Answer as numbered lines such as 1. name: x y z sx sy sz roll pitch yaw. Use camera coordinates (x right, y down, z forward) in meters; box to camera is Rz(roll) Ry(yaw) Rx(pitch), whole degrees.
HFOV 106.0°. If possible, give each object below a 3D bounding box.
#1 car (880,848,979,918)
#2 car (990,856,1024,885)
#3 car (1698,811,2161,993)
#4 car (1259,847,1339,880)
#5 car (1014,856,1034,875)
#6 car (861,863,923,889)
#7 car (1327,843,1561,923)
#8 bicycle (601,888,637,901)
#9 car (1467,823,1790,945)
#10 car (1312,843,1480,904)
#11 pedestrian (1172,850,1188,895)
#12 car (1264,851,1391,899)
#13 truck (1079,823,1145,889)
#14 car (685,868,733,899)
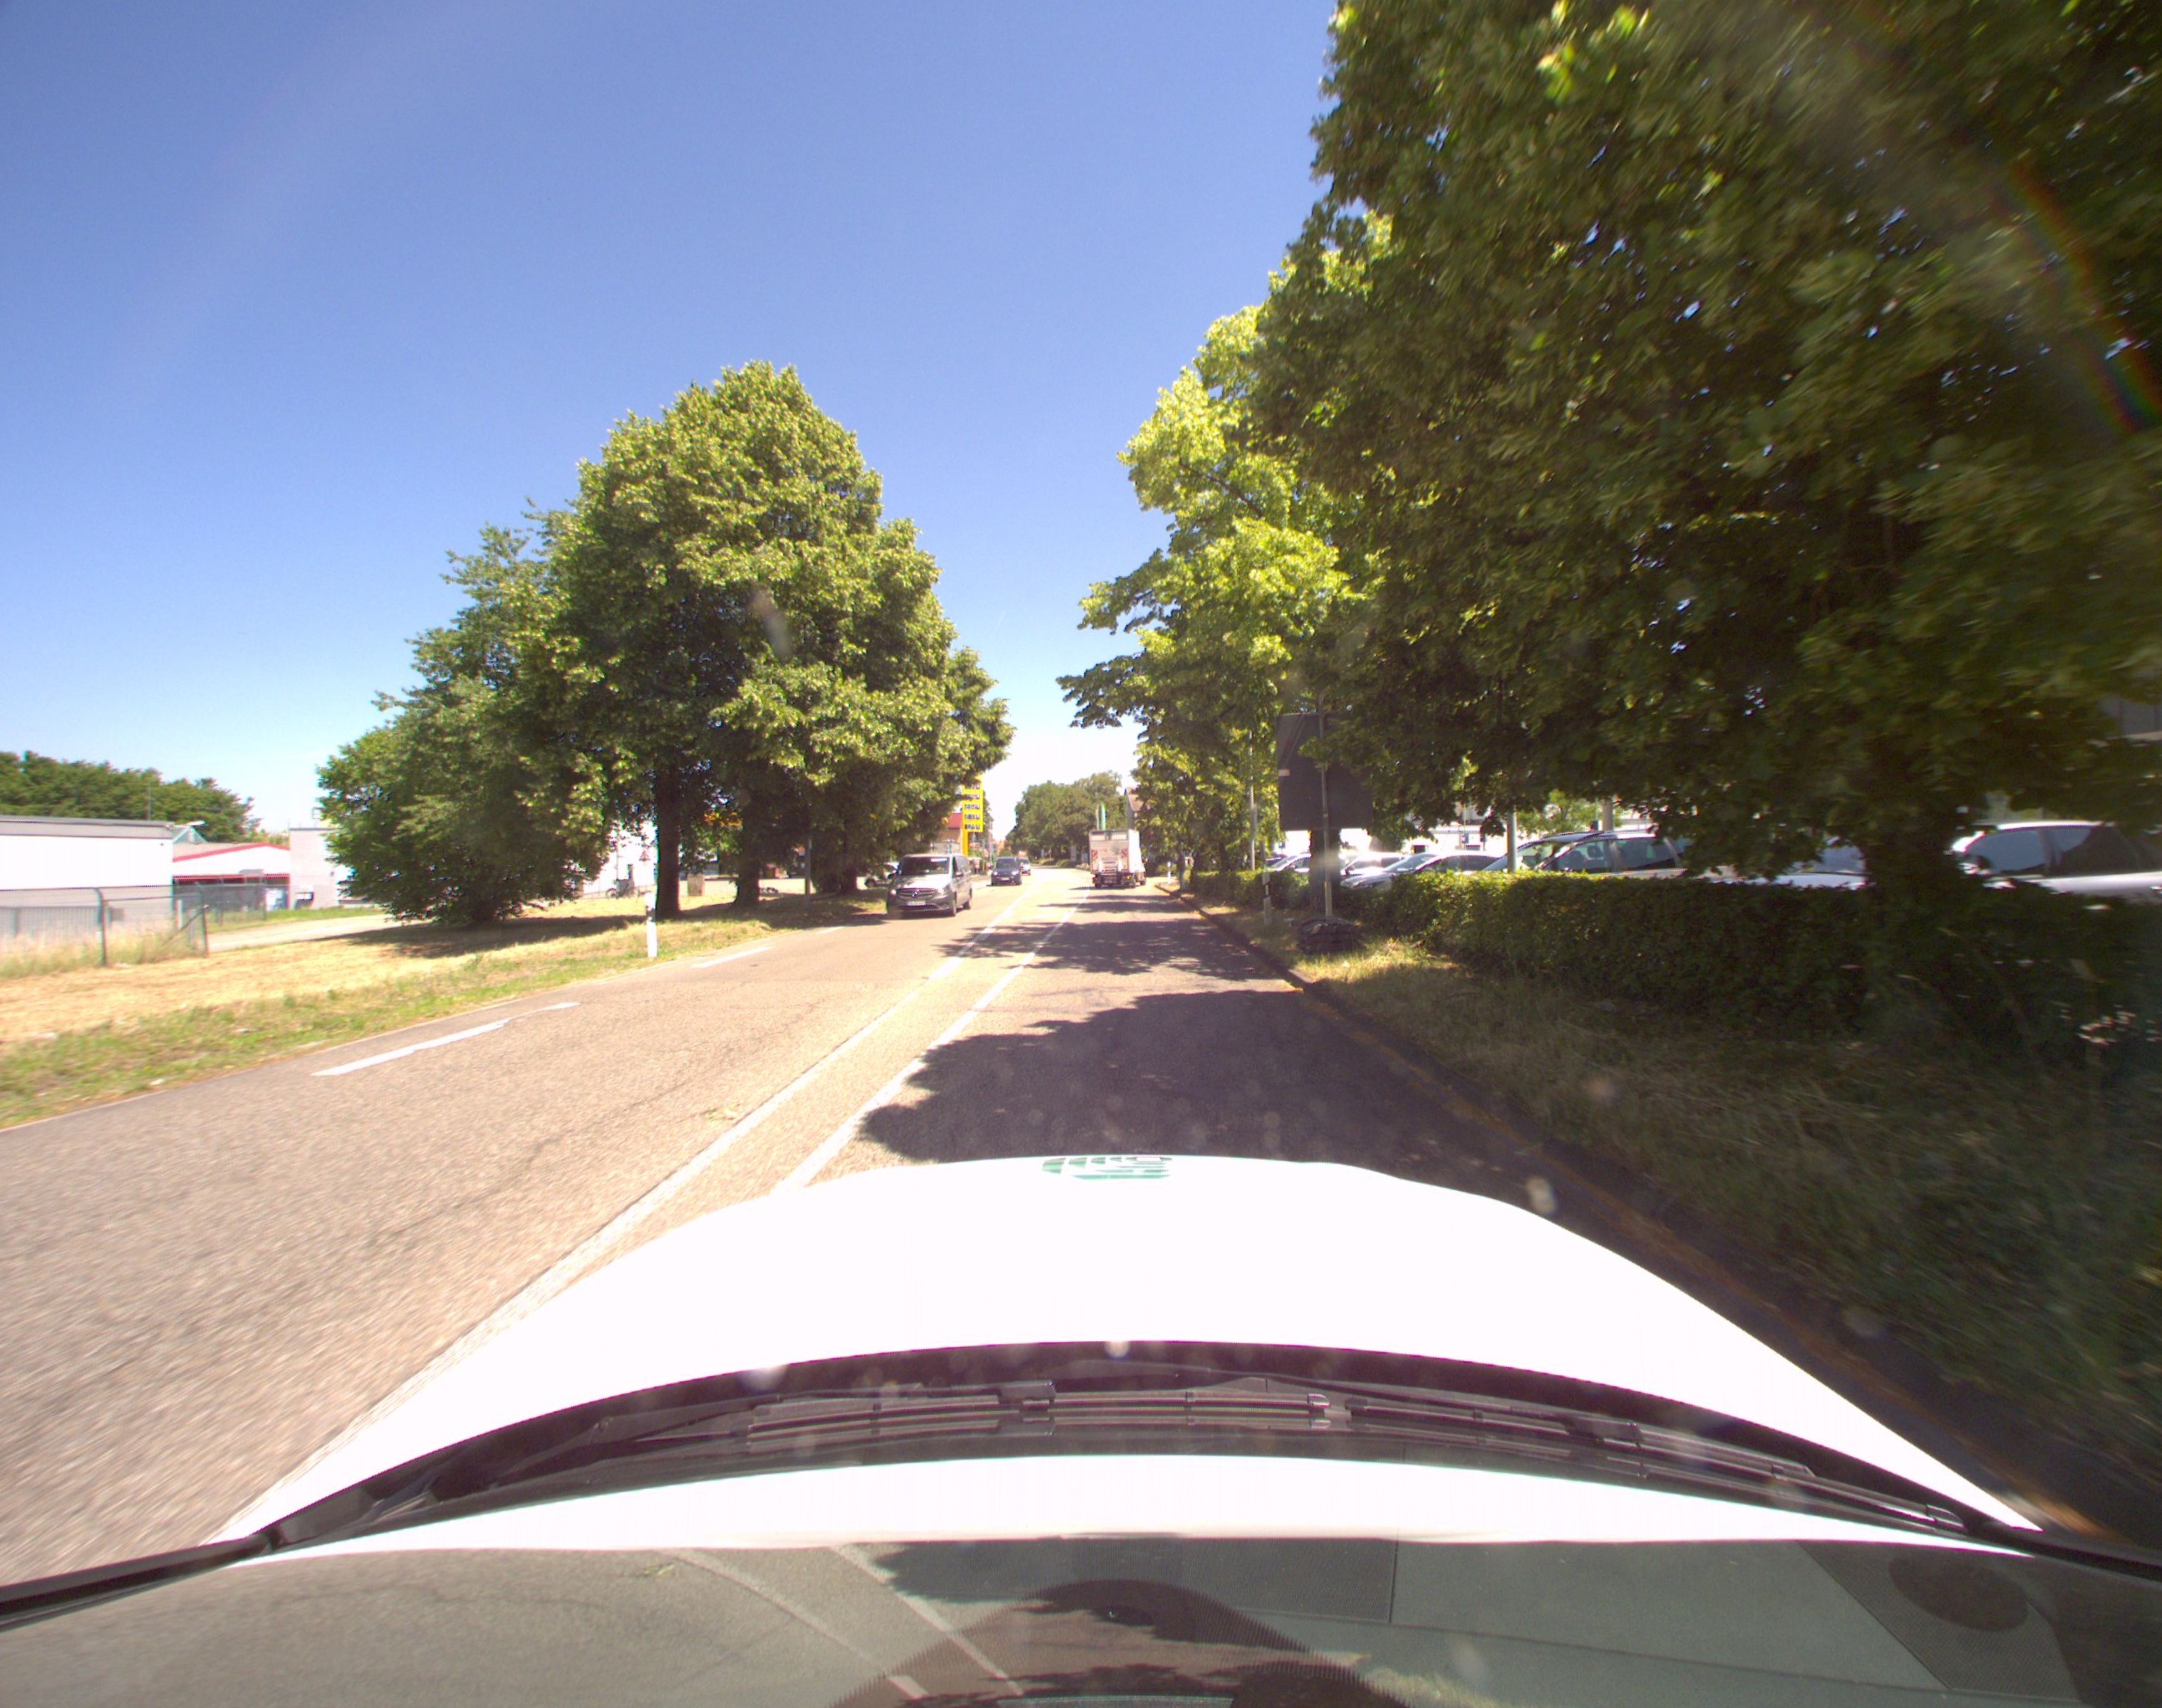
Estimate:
1. car: -4.482 0.813 24.914 1.987 1.857 5.314 -2 0 0
2. car: -4.631 1.005 51.431 1.739 1.746 4.578 -2 0 0
3. car: 8.706 0.417 8.011 3.922 1.564 1.797 -1 -1 0
4. car: 10.979 0.481 41.104 3.554 1.508 1.762 -2 -1 0
5. car: -5.820 1.157 83.040 1.723 1.760 3.961 -2 0 0
6. car: -10.706 1.249 46.116 3.390 1.362 1.343 -2 -1 30
7. car: 7.918 0.614 18.056 4.377 1.538 1.830 -2 -1 0
8. bicycle: -25.466 2.214 44.924 1.669 0.646 0.424 -2 -1 -5
9. car: 8.749 0.459 13.287 4.004 1.727 1.853 -2 -1 0
10. car: 8.978 0.548 23.461 4.093 1.576 1.867 -2 -1 0
11. pedestrian: 3.956 0.747 32.619 0.545 1.776 0.578 -2 -1 5
12. car: 8.595 0.712 28.614 3.932 1.510 1.706 -2 -1 0
13. truck: 1.700 0.074 42.312 2.517 3.135 5.378 -2 0 11
14. car: -20.801 1.608 45.698 1.739 1.585 3.980 -2 0 -14
